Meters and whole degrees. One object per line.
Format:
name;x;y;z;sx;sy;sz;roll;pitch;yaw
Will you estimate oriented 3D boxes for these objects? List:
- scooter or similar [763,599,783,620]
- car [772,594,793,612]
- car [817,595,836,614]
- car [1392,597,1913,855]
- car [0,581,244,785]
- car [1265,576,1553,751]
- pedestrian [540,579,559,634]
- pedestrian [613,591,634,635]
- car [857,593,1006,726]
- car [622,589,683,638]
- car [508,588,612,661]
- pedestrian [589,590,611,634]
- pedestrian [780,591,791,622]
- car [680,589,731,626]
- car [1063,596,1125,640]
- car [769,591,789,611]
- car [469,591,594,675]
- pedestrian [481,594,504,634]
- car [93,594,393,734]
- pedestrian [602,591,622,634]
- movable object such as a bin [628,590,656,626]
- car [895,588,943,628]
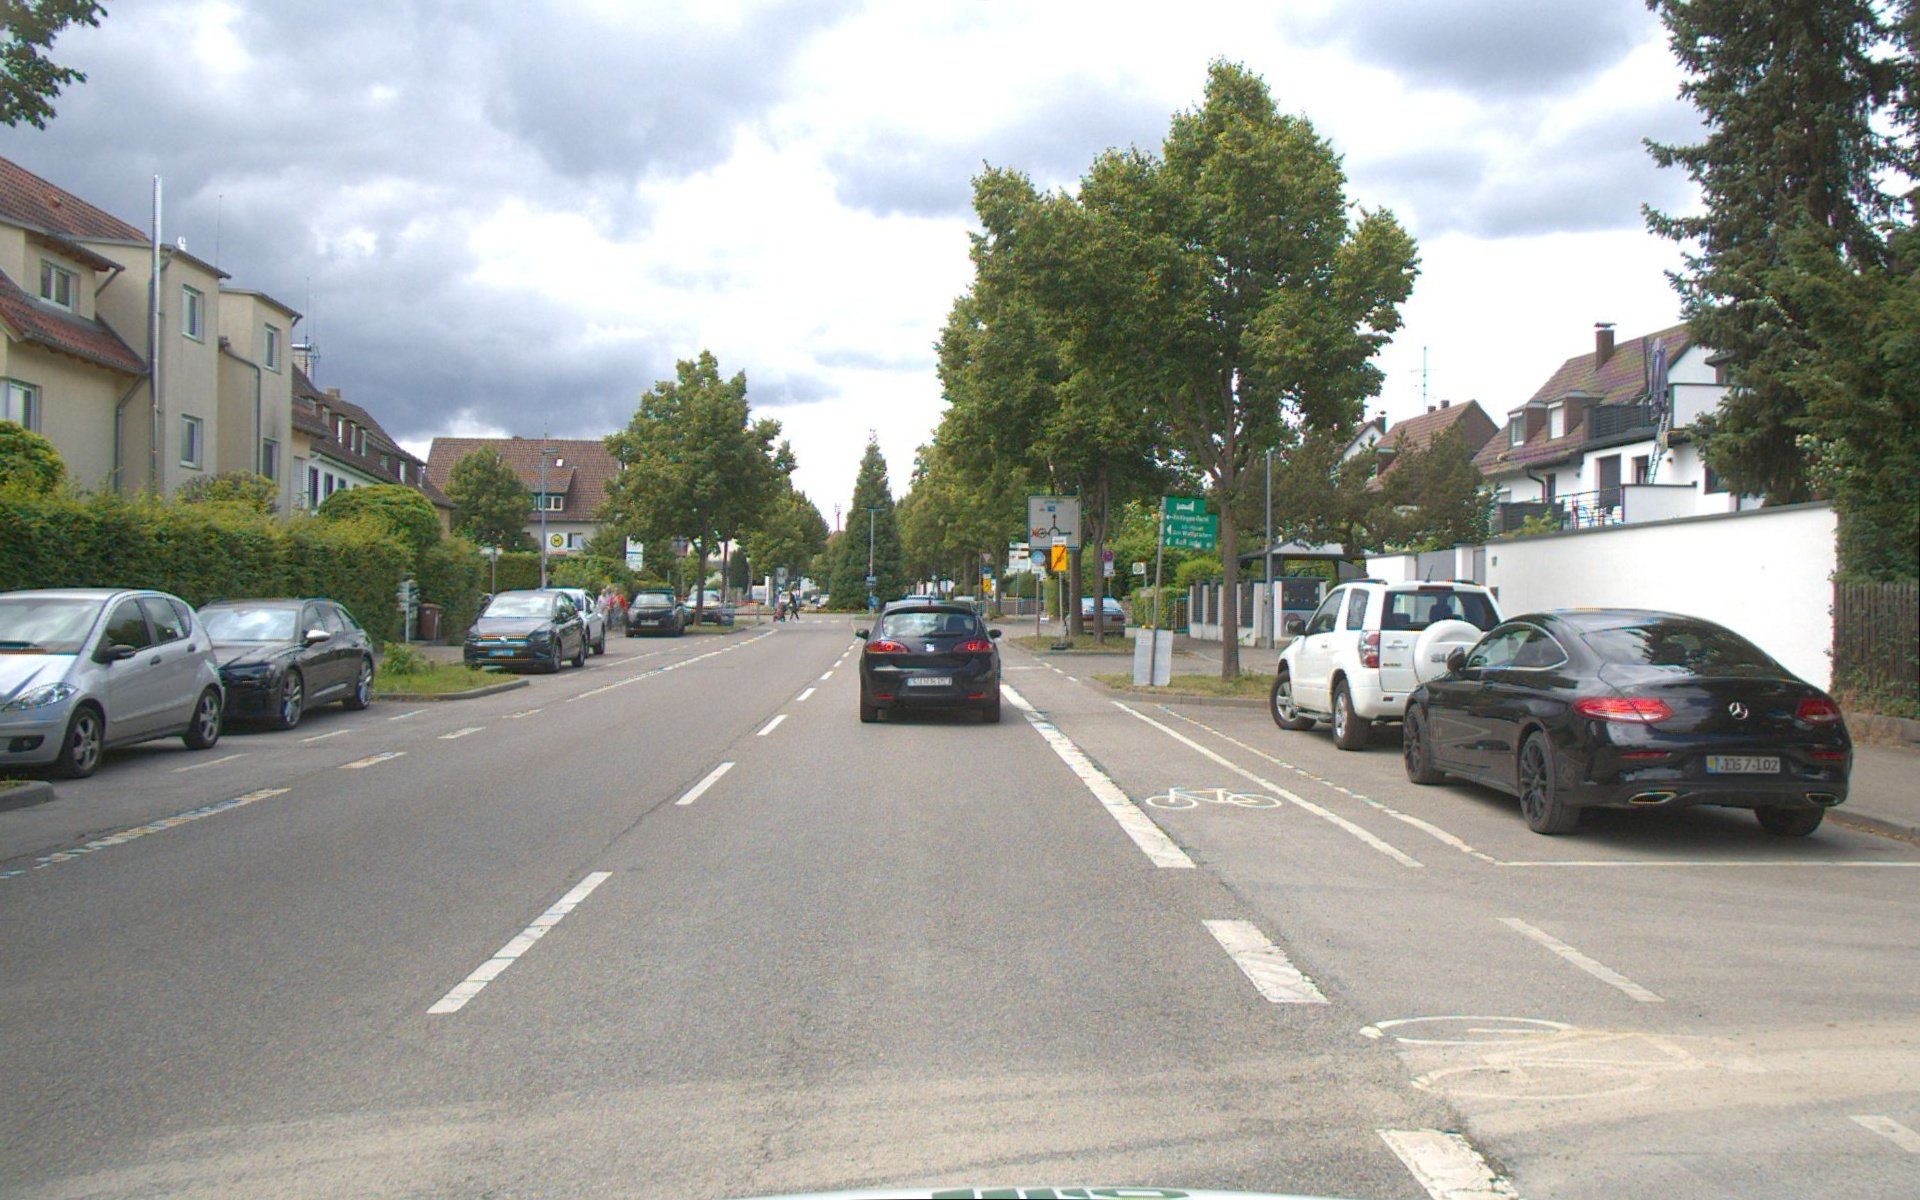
scooter or similar;-10.502;0.536;92.900;0.957;1.115;0.403;3;-1;-31
car;-16.730;0.289;155.675;1.762;1.629;3.997;0;0;-3
car;-11.650;0.369;144.666;1.537;1.663;3.619;0;0;-3
car;4.584;0.720;11.813;1.825;1.441;4.602;0;0;0
car;-8.242;0.672;15.291;1.684;1.641;3.908;0;0;-3
car;4.678;0.617;17.875;1.862;1.671;4.114;0;0;-2
pedestrian;-13.806;0.224;55.613;0.493;1.837;0.671;0;0;-3
pedestrian;-13.090;0.507;64.320;0.772;1.692;0.753;0;0;-9
car;-0.313;0.682;21.123;1.696;1.512;4.000;1;0;0
car;-11.447;0.493;61.806;1.690;1.755;4.561;1;0;-4
car;-9.733;0.555;40.574;1.785;1.662;4.581;0;0;-5
pedestrian;-13.903;0.453;63.898;0.772;1.692;0.879;0;0;-9
pedestrian;-9.822;0.364;93.246;0.508;1.699;0.479;0;0;-26
car;-12.040;0.334;78.422;1.823;1.682;4.293;1;0;-2
car;4.395;0.604;54.772;1.579;1.401;4.385;0;-1;-2
car;-18.999;0.089;173.726;1.990;2.005;3.996;0;0;-5
car;-8.551;0.619;33.331;1.644;1.579;4.269;0;0;-4
pedestrian;-15.688;0.472;55.475;0.576;1.336;0.705;0;0;-1
car;-8.726;0.697;20.656;1.955;1.511;4.885;-1;0;-5
pedestrian;-13.711;0.475;65.183;0.772;1.692;0.590;0;0;-9
movable object such as a bin;-15.536;0.381;80.854;1.182;1.680;0.997;2;-1;-5
car;-1.746;0.315;70.680;1.953;1.641;3.999;1;0;-1
